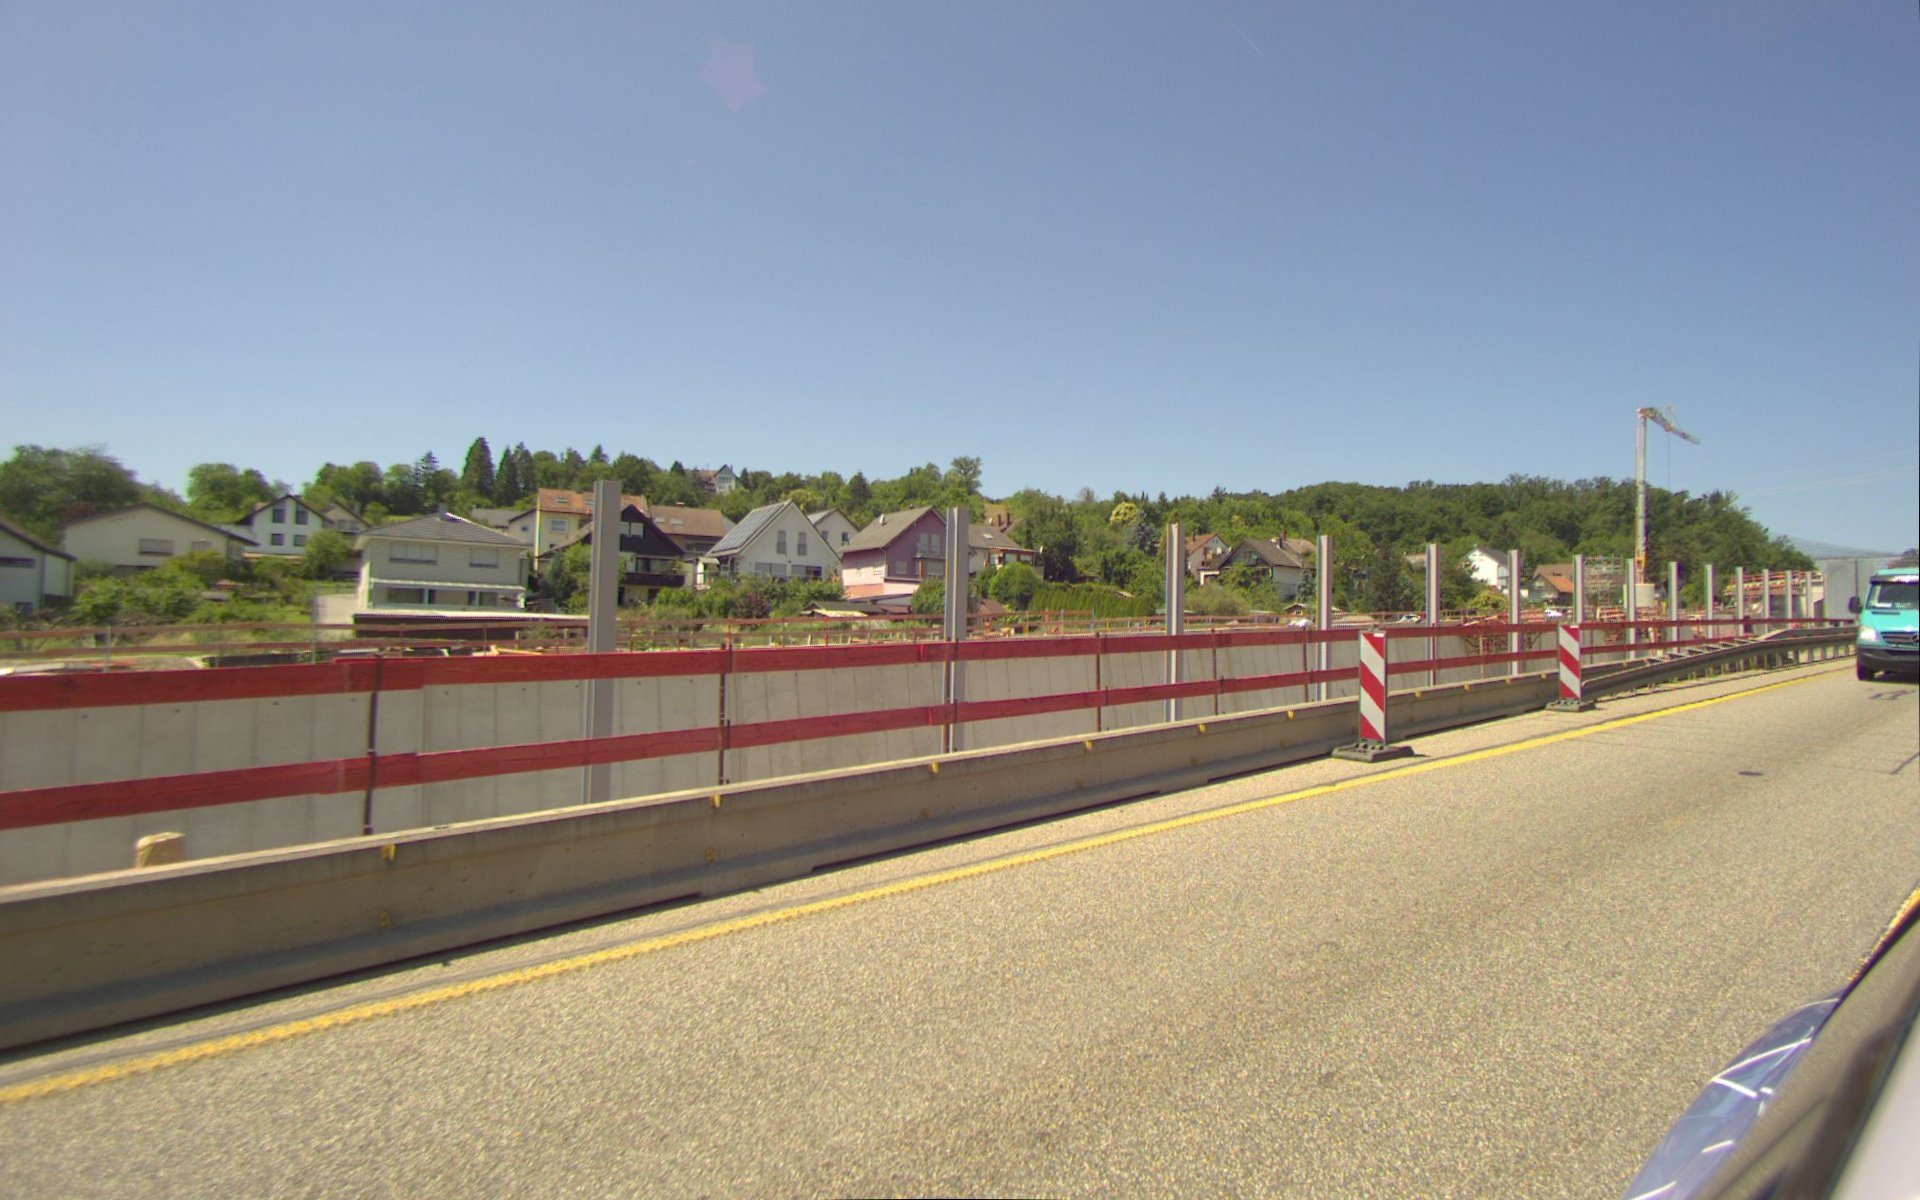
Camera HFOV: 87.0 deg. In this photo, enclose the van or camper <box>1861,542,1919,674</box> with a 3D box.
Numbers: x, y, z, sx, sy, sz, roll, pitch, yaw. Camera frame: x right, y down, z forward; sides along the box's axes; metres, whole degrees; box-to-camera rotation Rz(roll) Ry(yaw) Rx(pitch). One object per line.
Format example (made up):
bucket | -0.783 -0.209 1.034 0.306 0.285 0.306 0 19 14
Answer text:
van or camper | 21.189 0.169 21.514 7.536 2.504 2.096 1 0 -41
